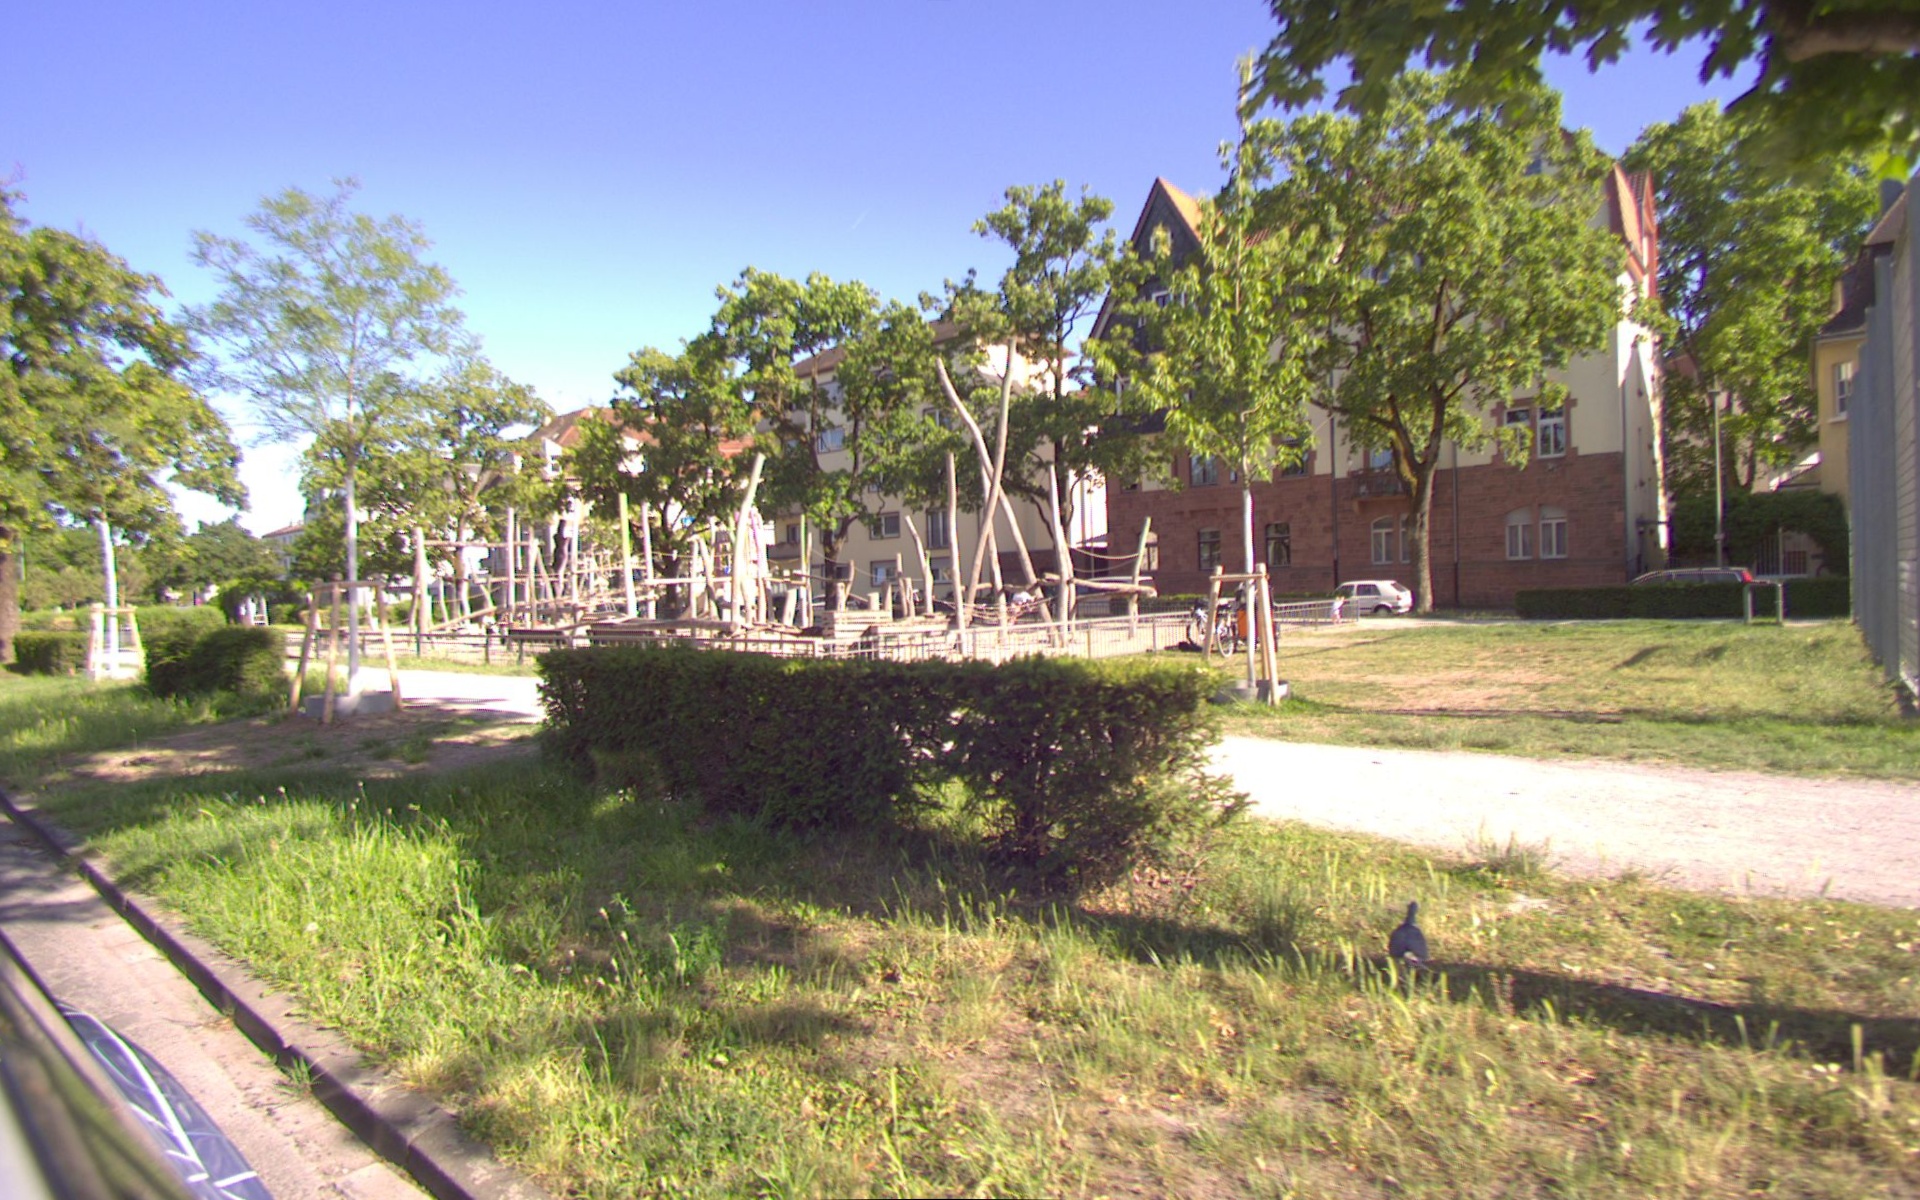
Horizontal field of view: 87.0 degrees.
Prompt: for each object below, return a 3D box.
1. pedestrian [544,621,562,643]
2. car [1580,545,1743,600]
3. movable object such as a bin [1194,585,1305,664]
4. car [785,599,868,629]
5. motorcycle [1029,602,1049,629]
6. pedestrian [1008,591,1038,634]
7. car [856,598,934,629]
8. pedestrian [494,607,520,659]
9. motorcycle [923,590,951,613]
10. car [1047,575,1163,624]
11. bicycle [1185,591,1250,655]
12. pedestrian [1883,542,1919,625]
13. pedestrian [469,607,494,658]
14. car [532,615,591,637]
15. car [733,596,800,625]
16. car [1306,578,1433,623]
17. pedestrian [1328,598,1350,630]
[{"bbox_3d":[-19.081,1.492,47.428,0.535,0.986,0.779,-3,1,-42],"label":"pedestrian"},{"bbox_3d":[21.946,-0.842,31.739,3.998,1.521,1.776,-2,1,41],"label":"car"},{"bbox_3d":[5.015,0.390,17.403,1.054,1.251,2.309,-2,0,37],"label":"movable object such as a bin"},{"bbox_3d":[-7.565,0.808,57.162,4.760,1.521,1.887,-2,1,40],"label":"car"},{"bbox_3d":[2.518,0.487,32.248,0.284,0.833,0.695,-2,1,39],"label":"motorcycle"},{"bbox_3d":[2.025,0.405,32.565,0.649,1.328,0.642,-2,1,38],"label":"pedestrian"},{"bbox_3d":[-3.465,0.726,53.756,3.998,1.521,1.776,-2,1,41],"label":"car"},{"bbox_3d":[-15.129,1.094,33.779,0.639,1.674,0.652,-3,1,-31],"label":"pedestrian"},{"bbox_3d":[-1.176,0.087,51.658,0.498,1.116,1.780,-1,1,33],"label":"motorcycle"},{"bbox_3d":[6.372,0.012,44.836,4.833,1.997,1.776,-2,1,41],"label":"car"},{"bbox_3d":[4.976,0.424,19.488,0.499,1.116,1.777,-2,1,39],"label":"bicycle"},{"bbox_3d":[15.565,-0.273,16.392,0.639,1.328,0.652,-2,1,-20],"label":"pedestrian"},{"bbox_3d":[-16.399,1.109,34.676,0.639,1.674,0.652,-3,1,-31],"label":"pedestrian"},{"bbox_3d":[-30.260,1.958,76.974,3.933,1.521,1.805,-2,1,-14],"label":"car"},{"bbox_3d":[-11.642,0.644,60.724,3.998,1.566,1.776,-2,1,41],"label":"car"},{"bbox_3d":[15.167,0.047,37.615,3.998,1.521,1.776,-2,1,41],"label":"car"},{"bbox_3d":[9.913,0.369,26.461,0.359,0.810,0.478,-2,1,42],"label":"pedestrian"}]
